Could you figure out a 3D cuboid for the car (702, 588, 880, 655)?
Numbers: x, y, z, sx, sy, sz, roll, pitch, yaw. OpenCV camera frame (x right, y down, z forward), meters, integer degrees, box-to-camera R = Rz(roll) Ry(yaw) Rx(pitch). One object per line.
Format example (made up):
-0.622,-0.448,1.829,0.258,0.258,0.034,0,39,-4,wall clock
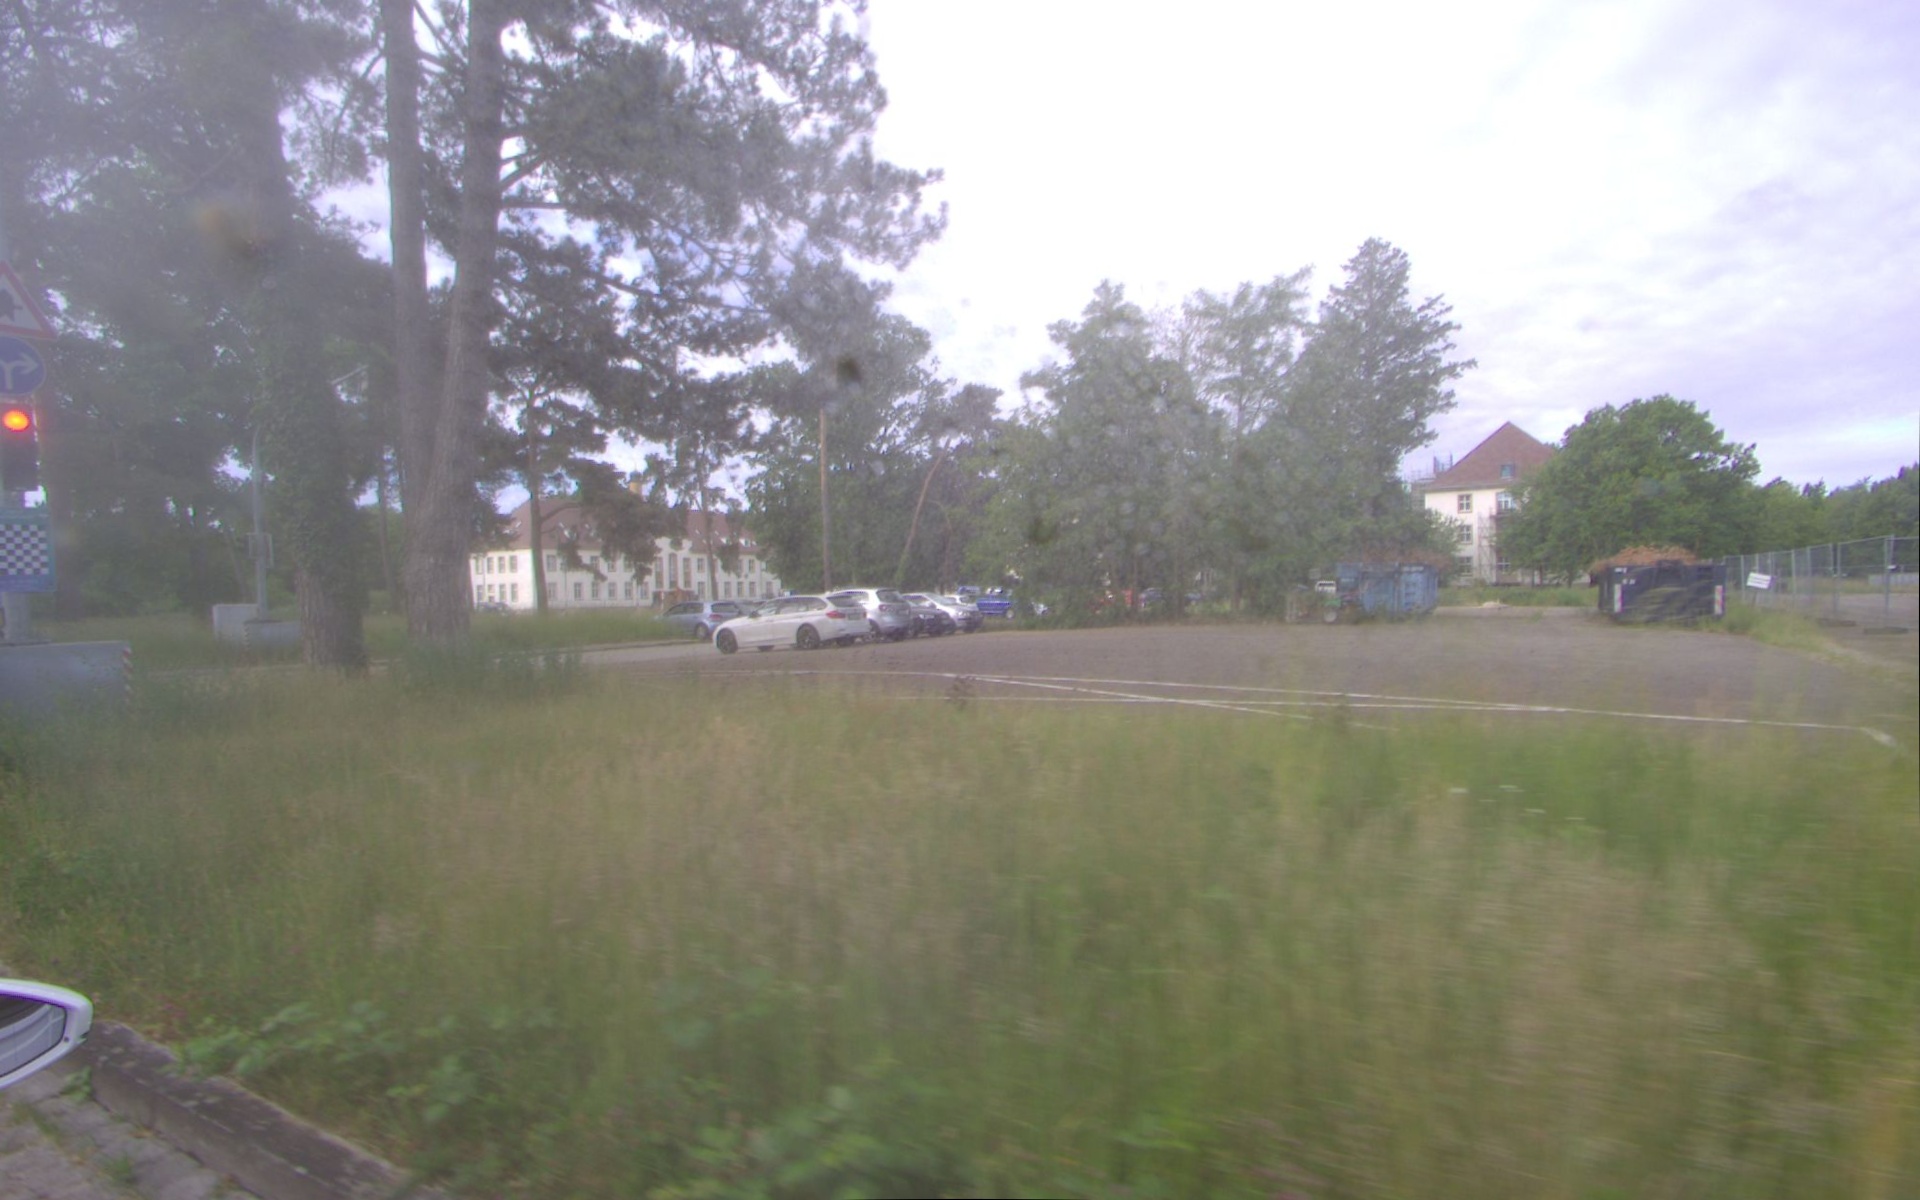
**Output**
-4.567,0.609,26.915,4.542,1.505,1.846,-4,-2,29,car

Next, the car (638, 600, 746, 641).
-10.451,0.782,38.991,4.184,1.529,1.729,-1,1,33,car

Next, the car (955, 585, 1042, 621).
2.233,0.189,59.139,4.724,2.053,2.130,-1,1,33,car

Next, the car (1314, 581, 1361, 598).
48.088,-1.266,127.580,5.223,1.980,2.079,-1,-1,33,car

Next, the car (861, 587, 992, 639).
-1.173,0.465,34.233,4.186,1.504,1.696,-4,-1,33,car

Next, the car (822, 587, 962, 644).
-2.185,0.501,31.637,4.186,1.504,1.696,-4,-1,33,car

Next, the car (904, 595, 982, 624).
-0.970,0.498,54.726,4.190,1.522,1.610,-1,1,38,car

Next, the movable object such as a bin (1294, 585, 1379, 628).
10.617,0.188,28.242,2.176,1.149,0.960,-1,-1,23,movable object such as a bin

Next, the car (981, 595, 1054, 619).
3.516,0.439,61.232,4.184,1.409,1.729,-1,1,34,car

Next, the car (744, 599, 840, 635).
-7.294,0.730,43.367,4.190,1.487,1.727,-1,1,38,car

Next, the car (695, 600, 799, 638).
-8.733,0.770,41.016,4.184,1.487,1.729,-1,1,33,car

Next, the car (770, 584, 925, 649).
-3.296,0.488,29.232,4.181,1.626,1.779,-4,-1,29,car

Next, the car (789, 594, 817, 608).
-22.025,0.160,140.599,1.899,1.930,4.056,-1,-1,29,car
